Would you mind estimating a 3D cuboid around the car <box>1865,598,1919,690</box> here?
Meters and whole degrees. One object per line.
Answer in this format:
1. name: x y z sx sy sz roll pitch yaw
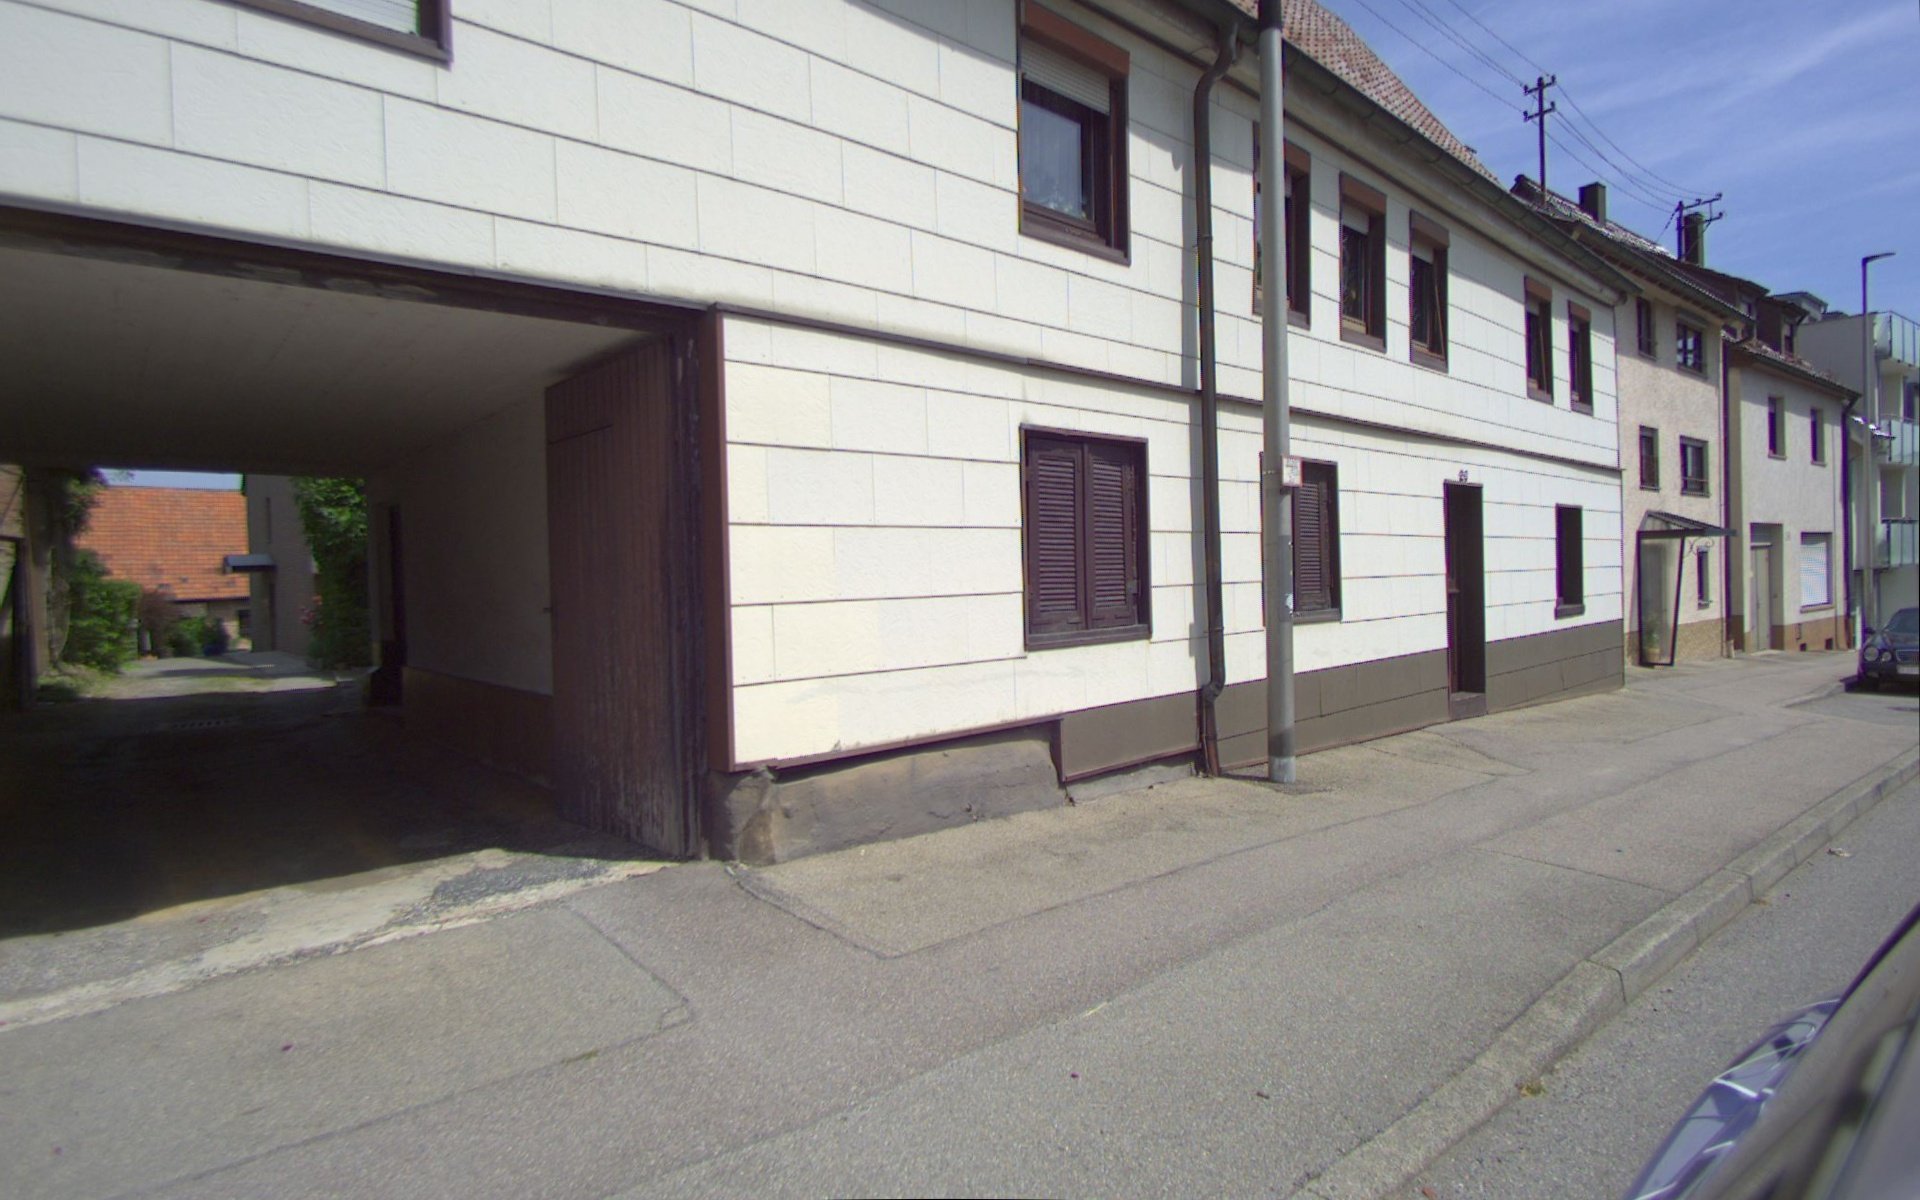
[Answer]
1. car: 16.252 0.667 16.534 4.113 1.370 1.669 0 0 -41
